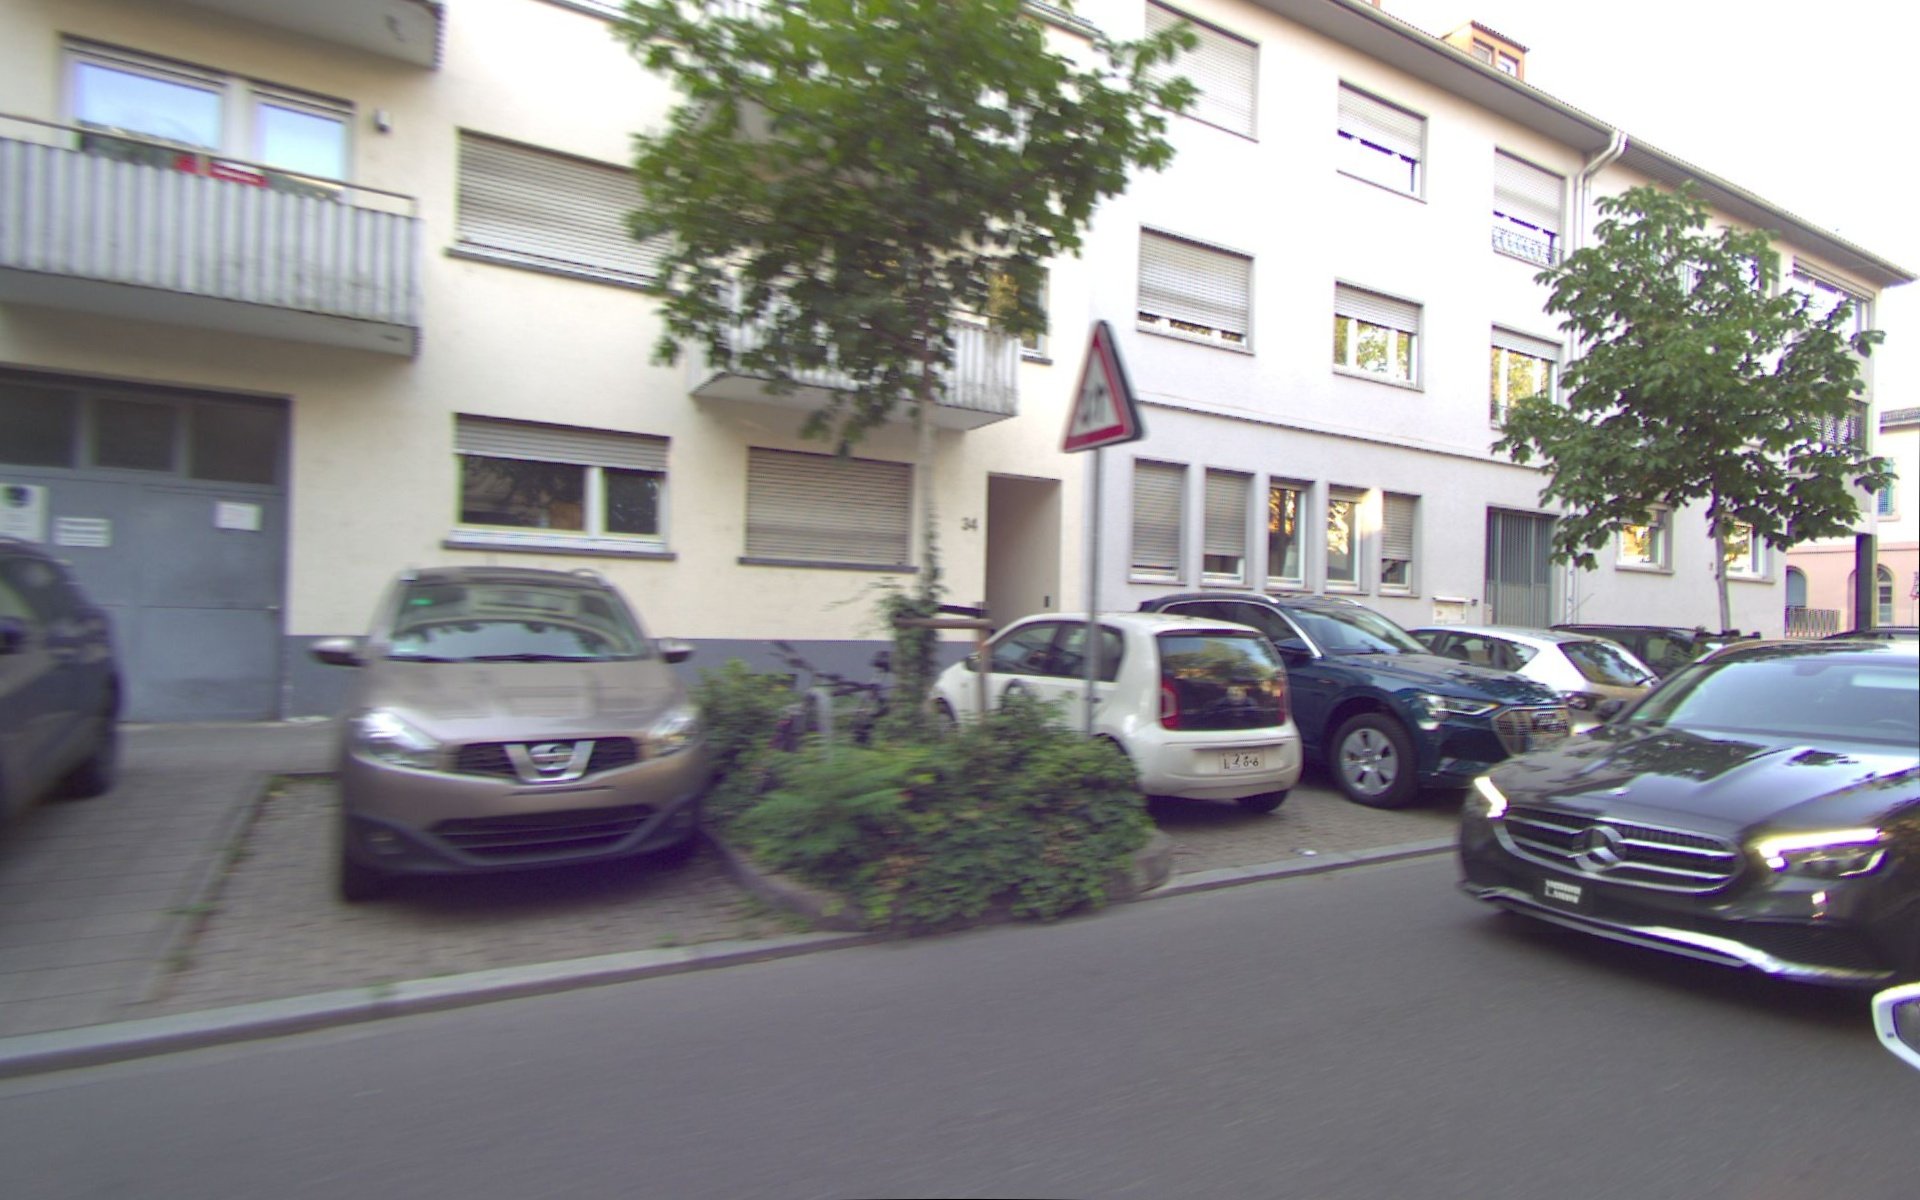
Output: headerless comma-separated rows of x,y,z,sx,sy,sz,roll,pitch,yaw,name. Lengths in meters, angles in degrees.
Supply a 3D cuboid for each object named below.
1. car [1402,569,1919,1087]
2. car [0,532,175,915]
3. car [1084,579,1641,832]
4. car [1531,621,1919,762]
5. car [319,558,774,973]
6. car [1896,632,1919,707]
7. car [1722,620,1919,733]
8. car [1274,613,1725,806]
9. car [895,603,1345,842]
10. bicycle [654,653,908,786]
4.571,0.815,5.236,4.593,1.662,1.868,2,-2,-31,car
-5.342,0.437,4.702,1.907,1.594,4.335,2,2,-29,car
3.461,0.742,9.665,2.131,1.789,4.644,2,0,-29,car
10.348,1.120,13.792,1.733,1.459,4.058,2,1,-28,car
-2.696,0.605,6.199,1.801,1.612,4.136,2,2,-29,car
20.673,1.460,19.198,1.715,1.478,3.723,2,1,-30,car
15.147,1.217,16.236,1.912,1.653,4.076,2,0,-28,car
5.512,0.993,10.863,1.756,1.514,4.016,2,1,-25,car
1.091,0.799,8.568,1.832,1.470,3.828,1,1,-29,car
-1.378,0.879,7.833,1.793,0.885,0.742,2,0,-31,bicycle
